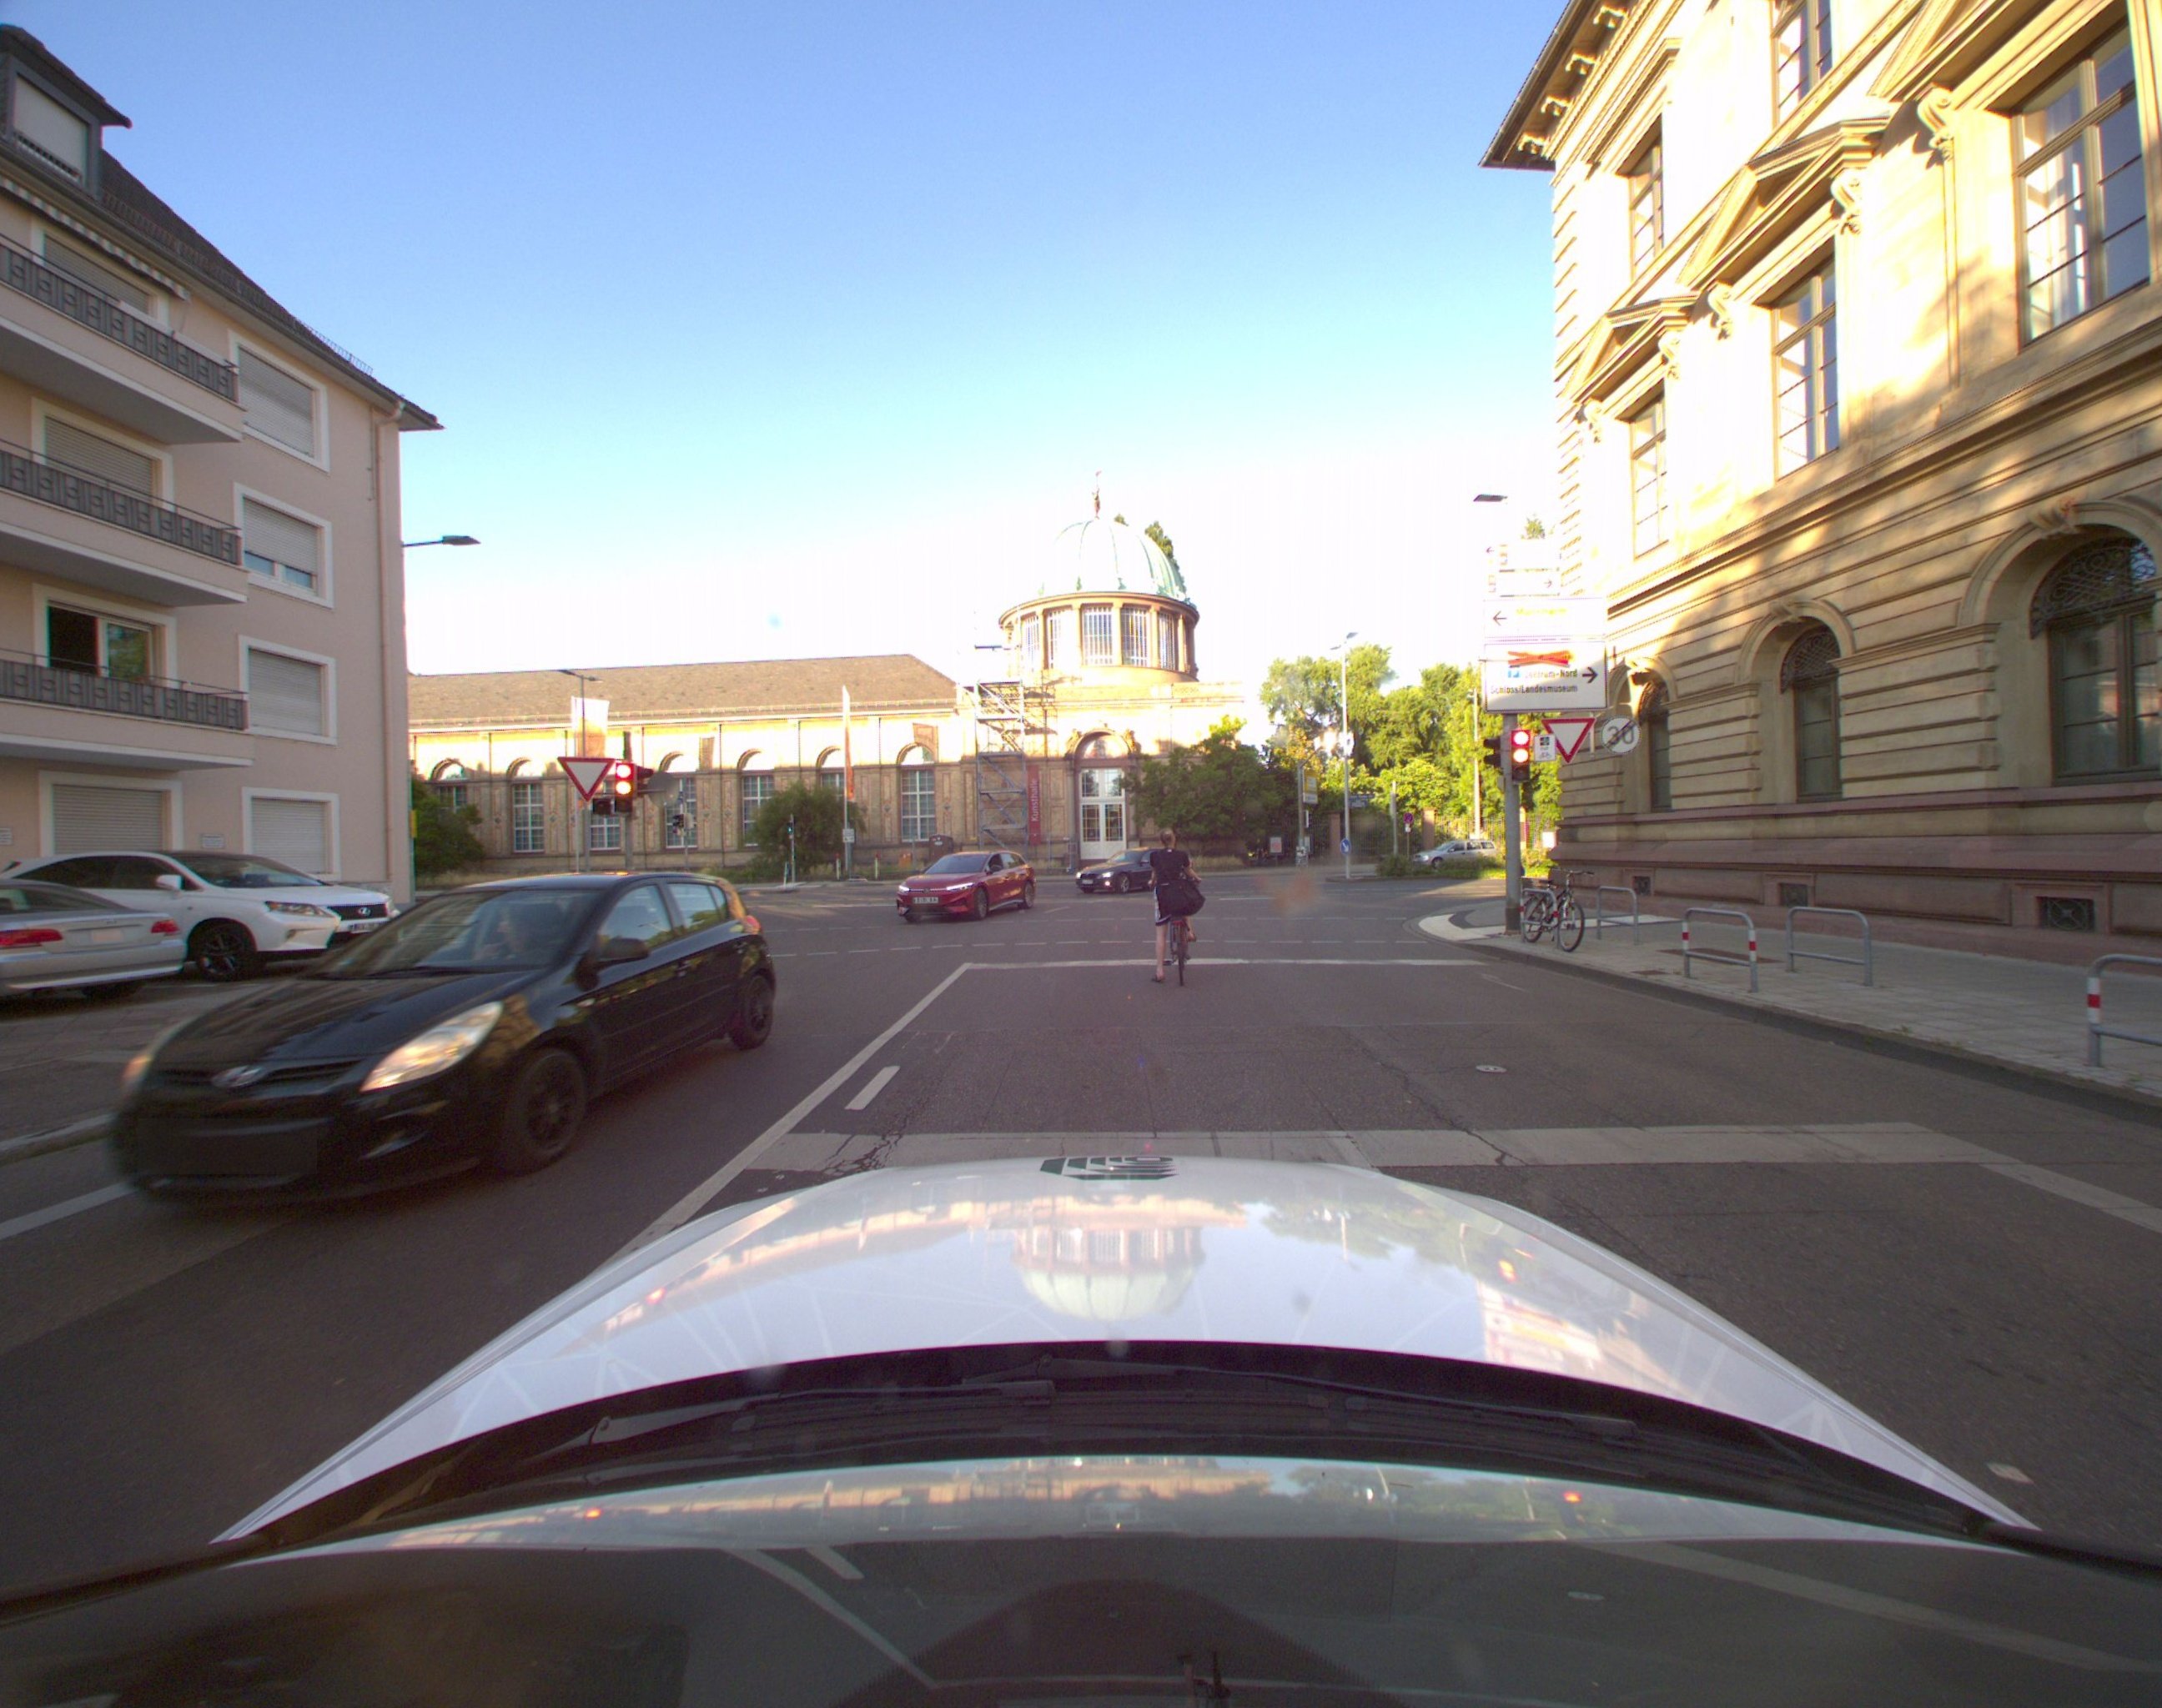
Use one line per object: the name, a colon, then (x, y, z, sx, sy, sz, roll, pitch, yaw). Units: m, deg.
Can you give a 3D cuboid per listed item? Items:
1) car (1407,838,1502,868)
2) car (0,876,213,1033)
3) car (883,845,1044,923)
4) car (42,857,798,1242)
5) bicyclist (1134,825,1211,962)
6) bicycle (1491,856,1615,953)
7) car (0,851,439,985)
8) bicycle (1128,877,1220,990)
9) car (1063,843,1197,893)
car: (19.420, -0.061, 42.430, 4.176, 1.445, 1.713, -2, 0, -4)
car: (-11.991, 0.951, 8.355, 4.253, 1.380, 1.735, 0, 0, 0)
car: (-2.627, 0.623, 19.633, 1.816, 1.545, 4.870, -2, 1, 18)
car: (-3.465, 0.838, 5.365, 1.651, 1.471, 3.856, -2, 1, 2)
bicyclist: (1.078, 0.446, 9.450, 0.710, 1.502, 0.854, -2, -1, 16)
bicycle: (6.325, 0.648, 11.044, 0.580, 1.188, 1.921, -2, -1, 2)
car: (-11.704, 0.791, 11.044, 4.426, 1.641, 1.942, 0, 0, 0)
bicycle: (1.154, 0.881, 9.668, 0.706, 1.156, 2.077, -2, -1, 16)
car: (1.697, 0.430, 27.299, 4.447, 1.459, 1.767, -2, 0, -40)
